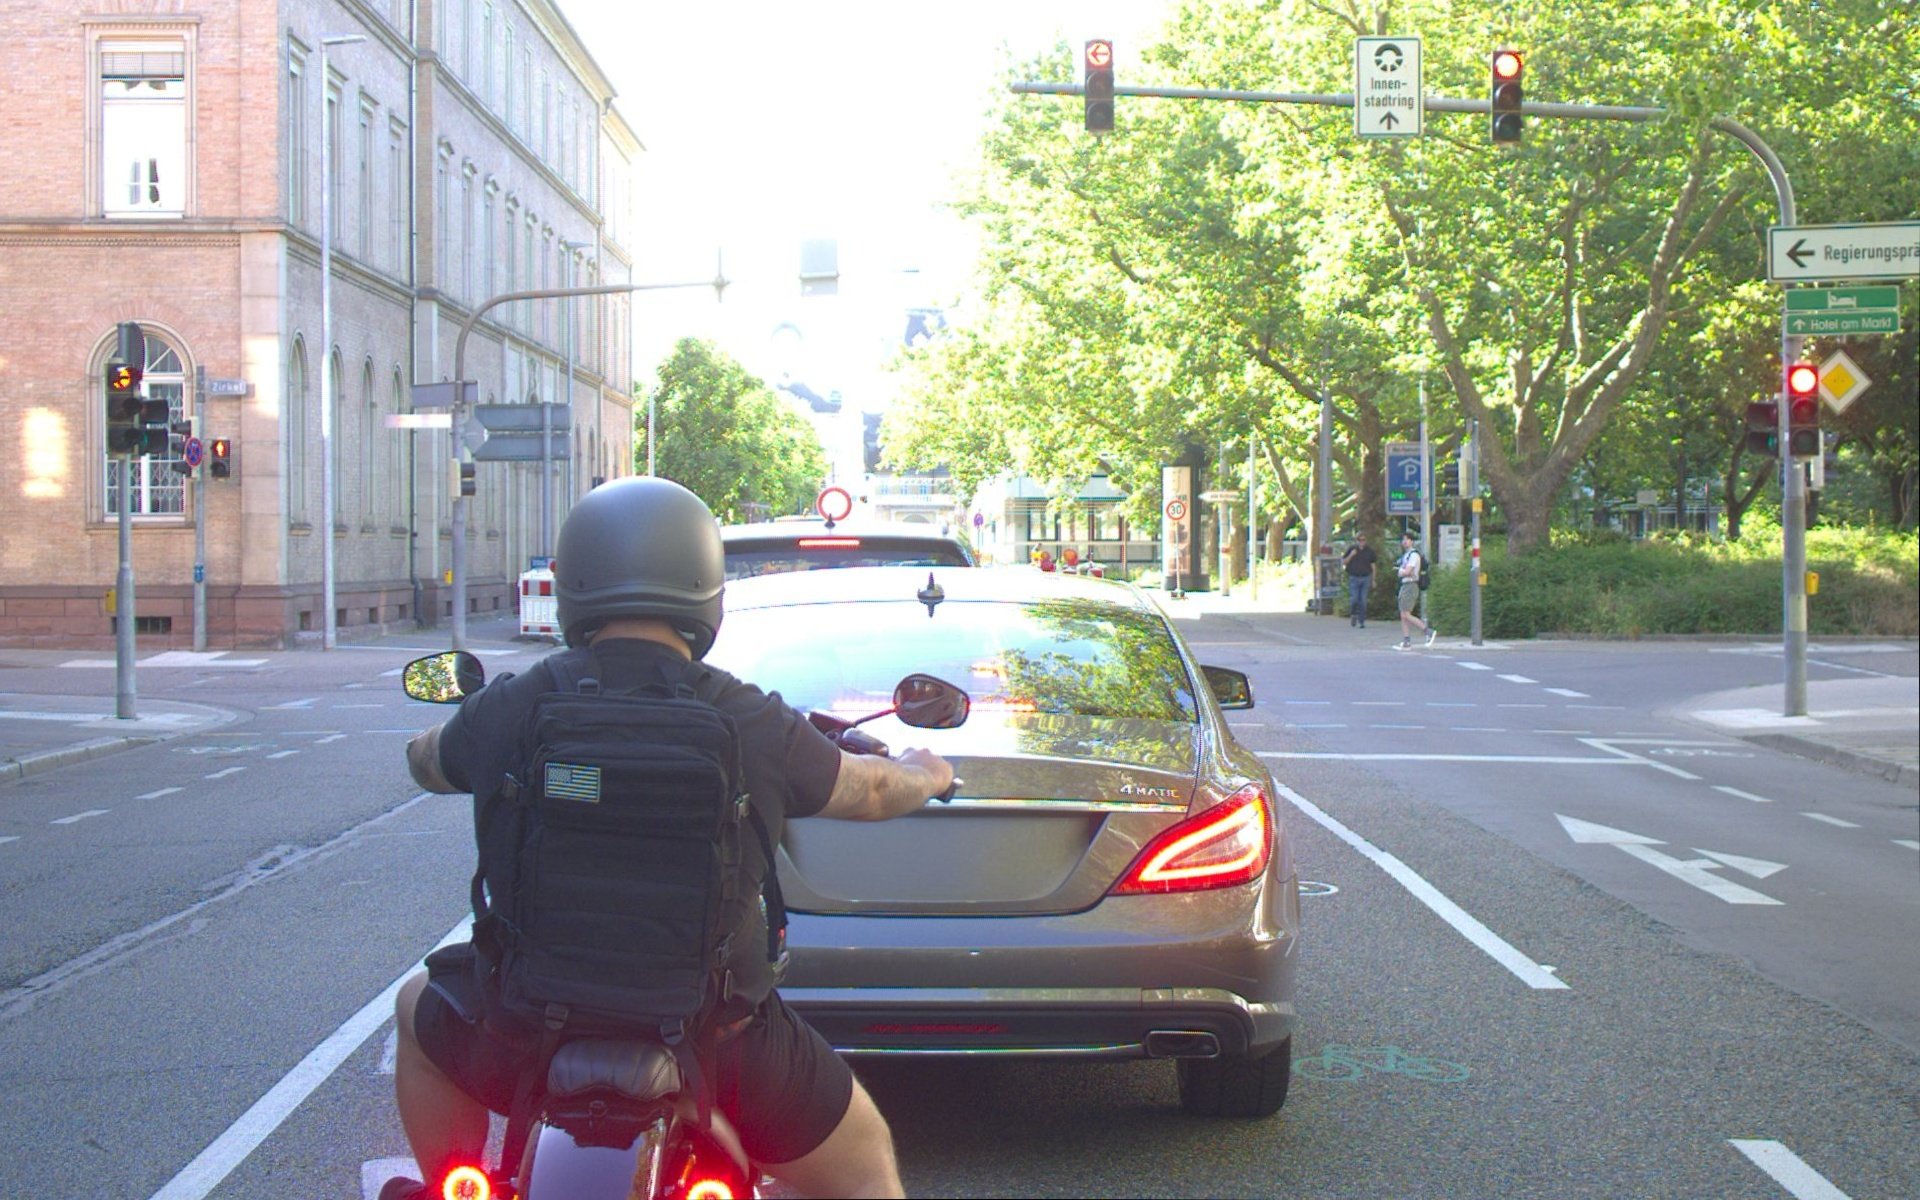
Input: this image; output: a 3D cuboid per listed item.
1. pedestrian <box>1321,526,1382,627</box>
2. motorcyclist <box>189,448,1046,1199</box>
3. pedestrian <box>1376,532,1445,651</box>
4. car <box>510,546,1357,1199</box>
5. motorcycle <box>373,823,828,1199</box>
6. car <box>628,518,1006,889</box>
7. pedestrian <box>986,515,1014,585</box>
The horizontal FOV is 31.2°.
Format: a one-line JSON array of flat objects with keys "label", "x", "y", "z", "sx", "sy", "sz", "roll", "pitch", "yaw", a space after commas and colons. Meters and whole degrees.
[{"label": "pedestrian", "x": 7.518, "y": -0.454, "z": 66.042, "sx": 0.749, "sy": 1.903, "sz": 0.926, "roll": 1, "pitch": 0, "yaw": -28}, {"label": "motorcyclist", "x": -0.477, "y": 0.592, "z": 5.313, "sx": 1.149, "sy": 1.593, "sz": 1.288, "roll": 1, "pitch": 0, "yaw": -1}, {"label": "pedestrian", "x": 6.994, "y": -0.139, "z": 53.430, "sx": 1.002, "sy": 1.820, "sz": 1.076, "roll": 1, "pitch": 0, "yaw": 6}, {"label": "car", "x": -0.082, "y": 0.592, "z": 9.630, "sx": 1.882, "sy": 1.444, "sz": 3.820, "roll": 1, "pitch": 1, "yaw": -1}, {"label": "motorcycle", "x": -0.494, "y": 0.923, "z": 5.321, "sx": 0.513, "sy": 0.999, "sz": 2.013, "roll": 1, "pitch": 1, "yaw": -1}, {"label": "car", "x": -0.636, "y": 0.407, "z": 16.746, "sx": 1.621, "sy": 1.588, "sz": 4.000, "roll": 0, "pitch": 1, "yaw": -1}, {"label": "pedestrian", "x": 1.170, "y": -1.457, "z": 100.738, "sx": 0.764, "sy": 2.044, "sz": 0.712, "roll": 1, "pitch": 0, "yaw": -1}]
